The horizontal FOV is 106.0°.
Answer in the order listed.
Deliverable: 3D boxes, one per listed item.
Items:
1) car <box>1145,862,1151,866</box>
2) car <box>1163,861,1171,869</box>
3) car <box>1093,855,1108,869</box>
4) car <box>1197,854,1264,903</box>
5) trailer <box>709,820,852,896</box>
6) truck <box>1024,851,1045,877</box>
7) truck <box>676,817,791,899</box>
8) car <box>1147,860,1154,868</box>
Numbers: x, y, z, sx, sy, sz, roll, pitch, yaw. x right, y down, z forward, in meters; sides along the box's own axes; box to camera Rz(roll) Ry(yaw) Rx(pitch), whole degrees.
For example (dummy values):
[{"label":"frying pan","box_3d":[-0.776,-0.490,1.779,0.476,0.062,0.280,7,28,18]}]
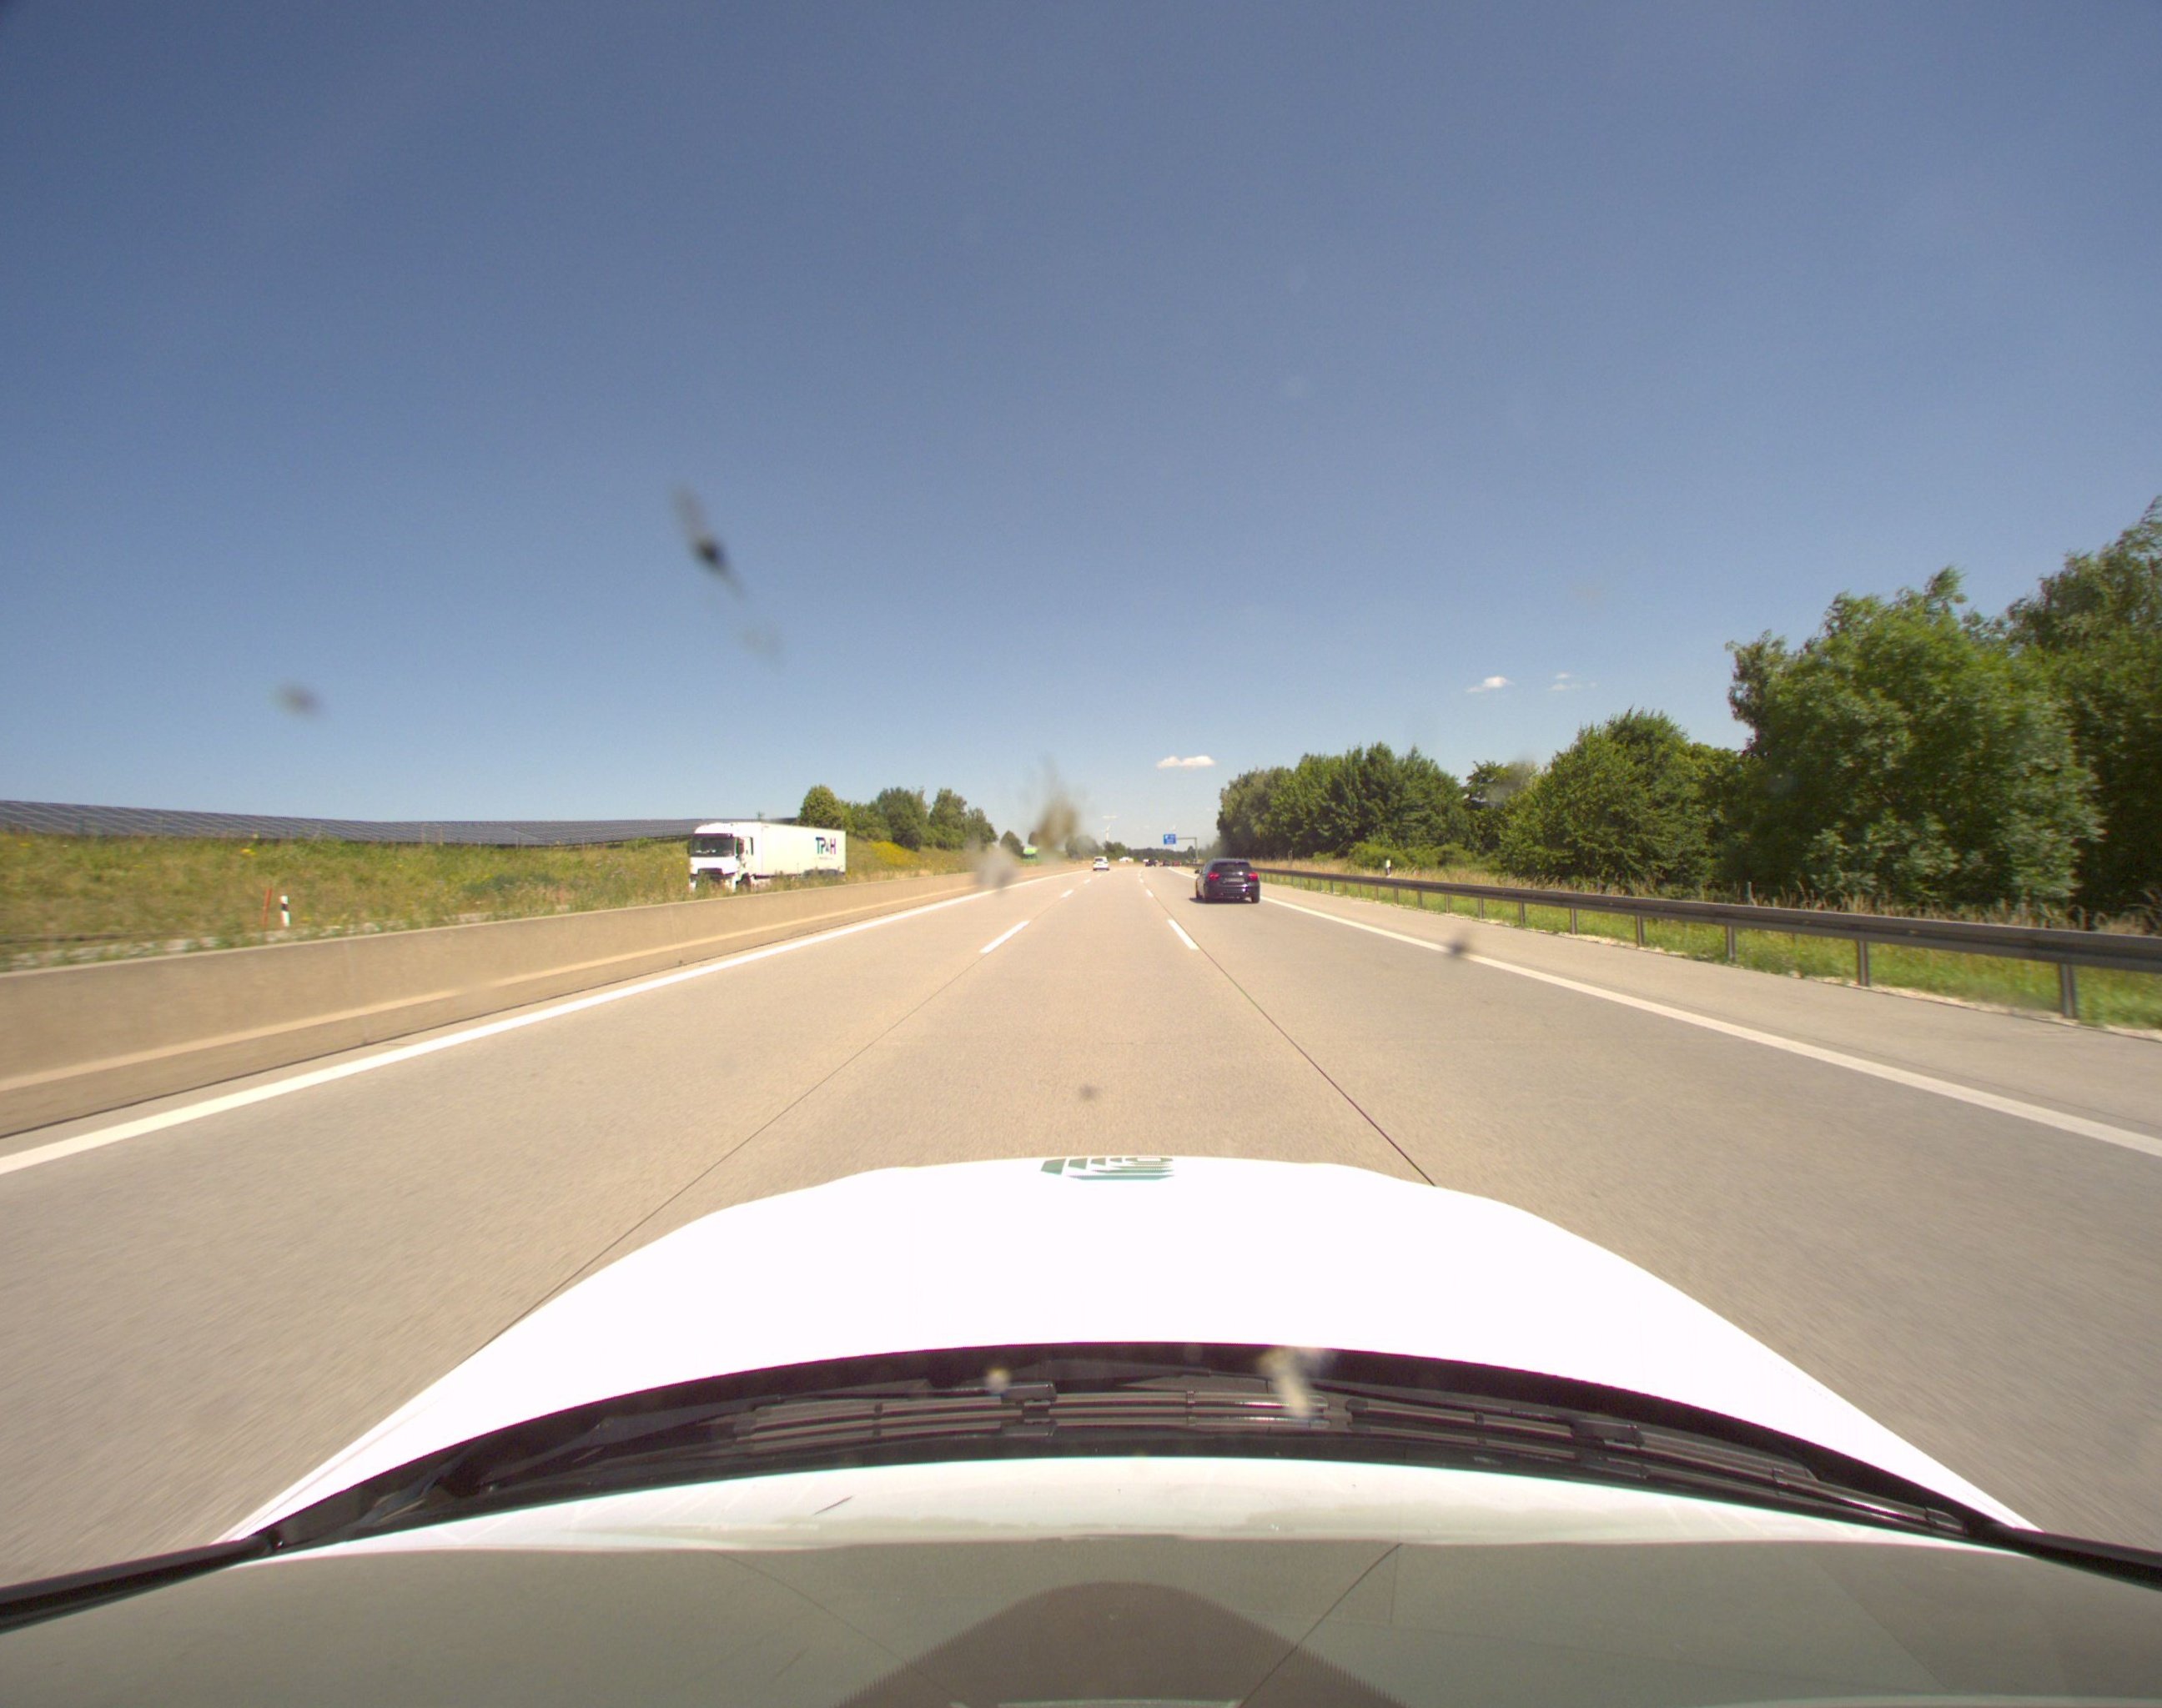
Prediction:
[{"label":"car","box_3d":[20.945,3.218,253.747,1.650,1.196,3.959,1,0,0]},{"label":"car","box_3d":[20.298,2.520,192.577,1.819,1.907,4.004,-1,0,4]},{"label":"car","box_3d":[2.427,0.999,100.357,1.838,1.708,6.037,-1,-1,1]},{"label":"car","box_3d":[4.976,0.766,27.562,1.901,1.492,4.198,-1,0,6]},{"label":"trailer","box_3d":[-18.385,0.225,51.544,2.993,4.060,14.188,-1,0,3]},{"label":"truck","box_3d":[-8.692,1.817,152.985,3.075,4.662,6.273,-1,-1,4]},{"label":"truck","box_3d":[-18.773,0.201,44.544,2.978,4.060,6.874,-1,0,3]},{"label":"car","box_3d":[17.619,2.609,205.920,1.818,1.937,3.815,-2,0,5]}]
